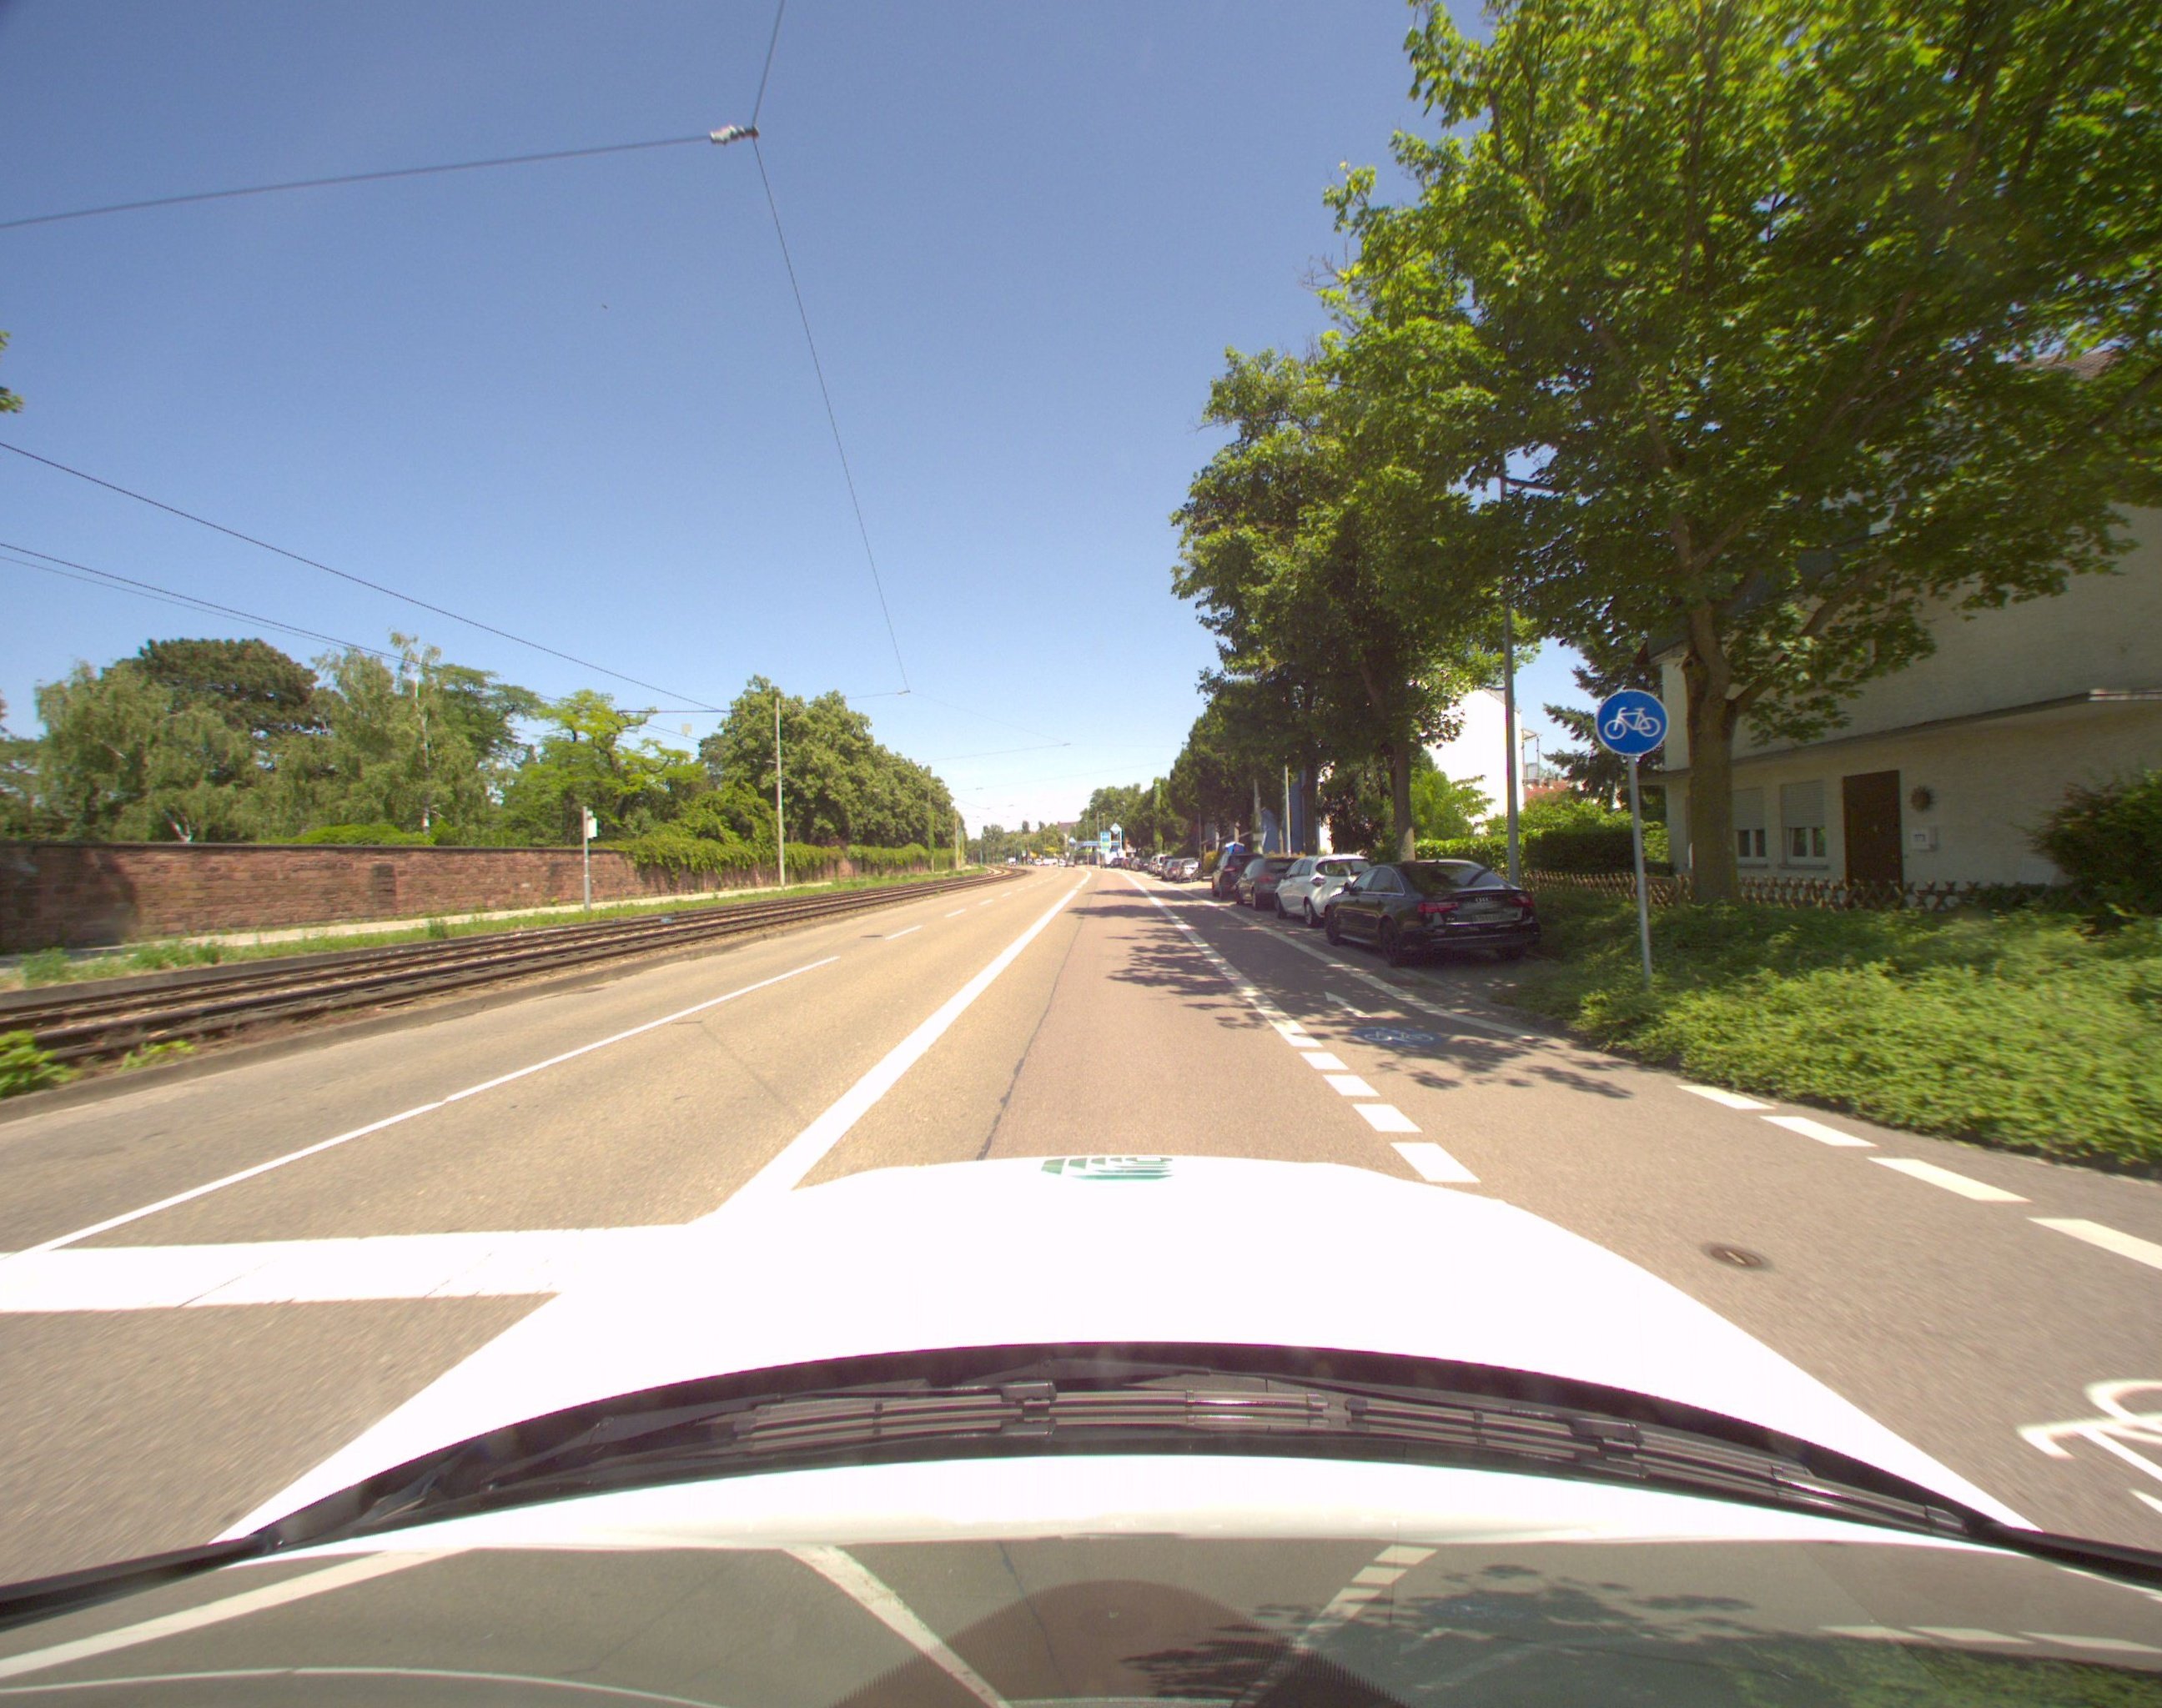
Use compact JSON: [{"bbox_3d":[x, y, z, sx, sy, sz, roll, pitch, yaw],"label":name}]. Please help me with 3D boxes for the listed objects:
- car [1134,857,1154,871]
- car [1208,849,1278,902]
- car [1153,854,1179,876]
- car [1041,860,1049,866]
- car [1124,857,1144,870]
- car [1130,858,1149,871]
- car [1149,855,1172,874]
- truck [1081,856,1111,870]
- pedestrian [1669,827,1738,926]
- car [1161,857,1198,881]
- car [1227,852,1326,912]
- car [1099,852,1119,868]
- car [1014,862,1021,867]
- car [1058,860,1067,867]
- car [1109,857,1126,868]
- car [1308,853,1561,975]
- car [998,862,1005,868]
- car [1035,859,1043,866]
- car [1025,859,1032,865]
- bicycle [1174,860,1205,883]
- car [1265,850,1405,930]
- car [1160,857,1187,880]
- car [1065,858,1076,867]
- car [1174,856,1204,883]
[{"bbox_3d":[7.347,1.122,95.172,1.702,1.492,5.034,-4,0,-2],"label":"car"},{"bbox_3d":[5.894,0.740,30.219,1.833,1.706,4.630,-4,0,3],"label":"car"},{"bbox_3d":[7.499,0.929,72.114,1.834,1.794,4.354,-4,0,1],"label":"car"},{"bbox_3d":[-10.671,2.582,241.880,1.754,1.630,4.313,-4,0,-7],"label":"car"},{"bbox_3d":[6.867,1.184,106.371,1.705,1.562,4.313,-4,0,-7],"label":"car"},{"bbox_3d":[7.248,1.245,101.164,1.703,1.492,4.726,-4,0,-3],"label":"car"},{"bbox_3d":[7.570,0.972,78.301,1.833,1.694,4.781,-4,0,2],"label":"car"},{"bbox_3d":[3.920,2.314,216.919,7.945,3.602,2.661,-1,0,-2],"label":"truck"},{"bbox_3d":[11.229,0.397,14.710,0.746,1.722,0.632,-1,-1,-5],"label":"pedestrian"},{"bbox_3d":[6.836,1.027,57.140,1.835,1.529,4.964,-4,0,-1],"label":"car"},{"bbox_3d":[5.780,0.771,24.581,1.835,1.529,4.352,-4,0,0],"label":"car"},{"bbox_3d":[4.488,0.999,132.454,2.000,2.457,6.092,-4,0,-8],"label":"car"},{"bbox_3d":[-20.132,3.355,257.618,1.754,1.630,4.313,-4,0,-7],"label":"car"},{"bbox_3d":[-4.334,2.261,193.148,1.753,1.630,4.315,-4,0,-5],"label":"car"},{"bbox_3d":[5.513,1.276,122.304,1.754,1.630,4.313,-4,0,-7],"label":"car"},{"bbox_3d":[5.207,0.772,12.860,1.835,1.436,4.824,-4,0,0],"label":"car"},{"bbox_3d":[-24.614,3.316,252.617,1.757,1.630,4.305,-4,0,-12],"label":"car"},{"bbox_3d":[-11.889,2.396,229.643,1.754,1.875,4.313,-4,0,-7],"label":"car"},{"bbox_3d":[-15.300,2.310,238.406,1.753,1.630,4.315,-4,0,-5],"label":"car"},{"bbox_3d":[6.662,1.054,50.092,1.765,1.228,0.685,-6,-1,6],"label":"bicycle"},{"bbox_3d":[5.736,0.747,18.952,1.835,1.529,4.204,-4,0,-1],"label":"car"},{"bbox_3d":[7.025,1.078,62.175,1.833,1.529,4.220,-4,0,4],"label":"car"},{"bbox_3d":[-2.069,1.650,159.164,1.754,1.630,4.313,-4,0,-7],"label":"car"},{"bbox_3d":[6.884,0.970,52.128,1.513,1.529,3.818,-4,0,2],"label":"car"}]
